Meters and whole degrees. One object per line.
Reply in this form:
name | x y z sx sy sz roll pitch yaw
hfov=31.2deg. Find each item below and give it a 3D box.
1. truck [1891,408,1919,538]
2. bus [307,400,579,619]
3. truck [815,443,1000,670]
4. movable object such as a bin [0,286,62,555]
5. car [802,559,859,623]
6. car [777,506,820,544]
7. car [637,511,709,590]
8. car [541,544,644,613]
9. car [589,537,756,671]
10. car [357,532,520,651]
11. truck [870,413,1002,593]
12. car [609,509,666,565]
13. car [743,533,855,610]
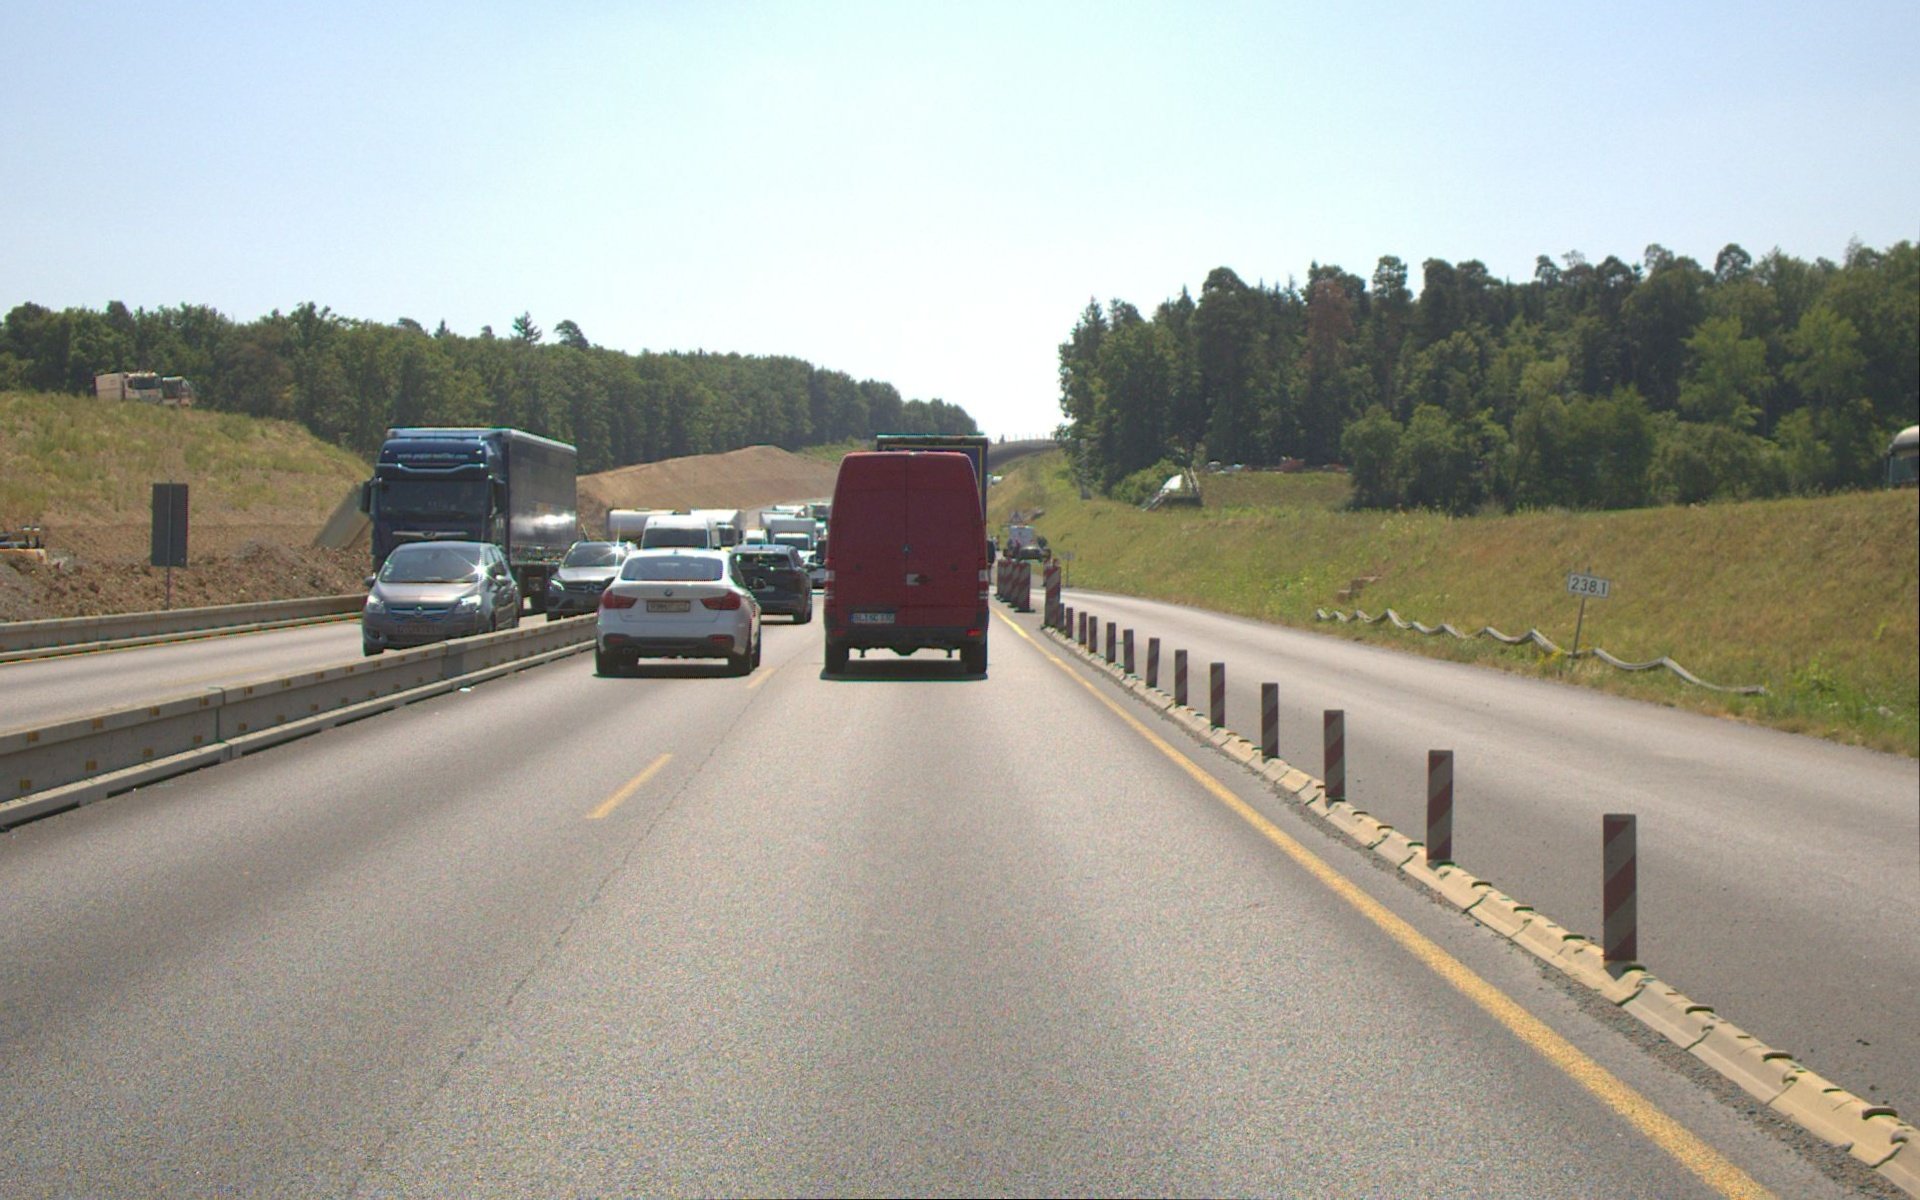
truck | 24.923 -3.115 84.796 2.899 3.102 6.004 0 1 24
bus | -11.388 -2.002 78.059 3.942 4.400 17.202 0 1 -1
truck | -0.572 -0.570 43.225 2.111 2.624 6.484 0 1 1
movable object such as a bin | -34.355 -4.773 93.661 18.710 7.206 3.616 0 1 -2
car | -4.228 -0.317 112.512 1.763 2.007 3.827 0 1 -1
car | -8.159 -3.789 173.701 1.993 1.897 4.000 0 1 0
car | -7.982 -1.383 95.837 1.858 2.147 3.626 0 1 -3
car | -7.409 -0.457 69.594 1.722 1.341 3.626 0 1 0
car | -3.463 0.006 42.143 1.795 1.529 5.074 1 1 -2
car | -7.160 -0.152 47.526 1.652 1.553 4.096 0 1 0
truck | -0.551 -2.319 83.600 3.015 4.138 8.273 0 1 0
car | -11.875 -2.313 126.676 1.763 2.007 3.827 0 1 -1
car | -3.256 -0.605 70.211 1.795 1.529 3.931 0 1 5
